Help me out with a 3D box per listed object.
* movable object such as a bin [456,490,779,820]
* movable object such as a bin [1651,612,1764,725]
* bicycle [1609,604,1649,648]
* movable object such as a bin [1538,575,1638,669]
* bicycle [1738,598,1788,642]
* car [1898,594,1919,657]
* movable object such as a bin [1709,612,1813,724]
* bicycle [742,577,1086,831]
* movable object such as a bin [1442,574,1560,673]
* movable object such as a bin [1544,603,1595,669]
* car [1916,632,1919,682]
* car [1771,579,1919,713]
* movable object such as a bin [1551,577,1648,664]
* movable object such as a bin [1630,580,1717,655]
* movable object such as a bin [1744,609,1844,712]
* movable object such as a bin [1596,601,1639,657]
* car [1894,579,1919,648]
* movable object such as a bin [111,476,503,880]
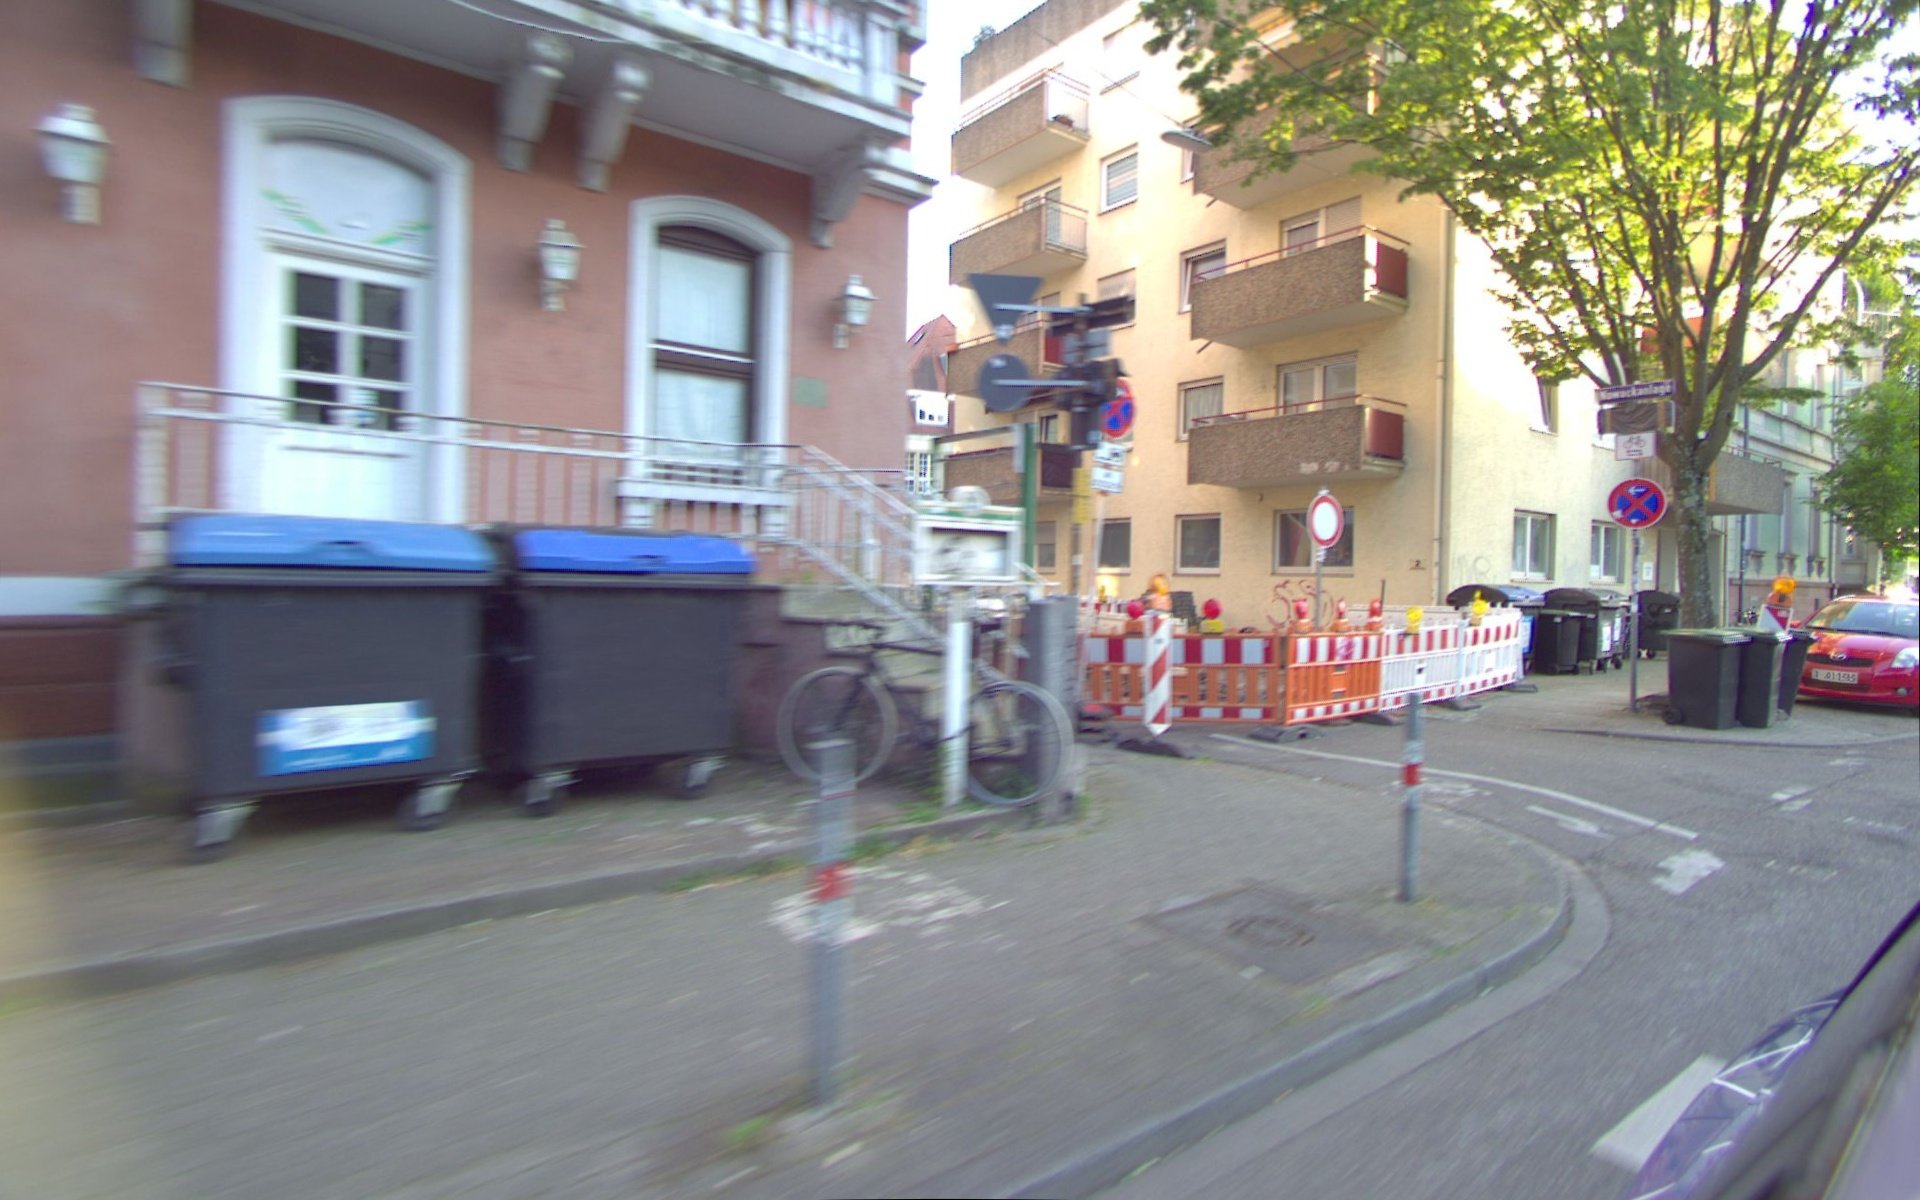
[{"bbox_3d":[-1.877,0.240,5.535,1.373,1.520,1.143,0,1,-38],"label":"movable object such as a bin"},{"bbox_3d":[8.193,0.725,11.112,0.576,1.168,0.797,0,1,-25],"label":"movable object such as a bin"},{"bbox_3d":[13.665,0.519,20.666,1.204,0.875,0.413,0,1,-43],"label":"bicycle"},{"bbox_3d":[10.777,0.351,17.369,1.295,1.520,1.074,0,1,-39],"label":"movable object such as a bin"},{"bbox_3d":[20.713,0.509,26.096,1.527,1.088,0.652,0,1,-38],"label":"bicycle"},{"bbox_3d":[24.602,0.642,23.222,4.163,1.472,1.633,1,1,23],"label":"car"},{"bbox_3d":[8.886,0.733,11.241,0.576,1.168,0.716,0,1,-25],"label":"movable object such as a bin"},{"bbox_3d":[-0.272,0.528,5.870,1.893,1.282,0.598,2,1,19],"label":"bicycle"},{"bbox_3d":[8.836,0.352,16.530,1.569,1.520,1.143,0,1,-38],"label":"movable object such as a bin"},{"bbox_3d":[10.073,0.584,16.734,0.560,1.060,0.555,0,1,-39],"label":"movable object such as a bin"},{"bbox_3d":[17.502,0.539,16.618,4.010,1.651,1.750,0,3,-35],"label":"car"},{"bbox_3d":[12.804,0.546,13.812,3.621,1.554,1.571,0,3,-33],"label":"car"},{"bbox_3d":[11.779,0.349,18.650,1.247,1.520,1.143,0,1,-38],"label":"movable object such as a bin"},{"bbox_3d":[15.094,0.348,21.405,1.455,1.520,1.116,0,1,-38],"label":"movable object such as a bin"},{"bbox_3d":[10.055,0.711,12.221,0.612,1.168,0.715,1,1,6],"label":"movable object such as a bin"},{"bbox_3d":[12.912,0.561,19.871,0.560,1.060,0.555,0,1,-39],"label":"movable object such as a bin"},{"bbox_3d":[26.431,0.371,25.278,4.164,1.746,1.708,1,1,24],"label":"car"},{"bbox_3d":[-2.999,0.281,4.690,1.373,1.520,1.143,0,1,-38],"label":"movable object such as a bin"}]
